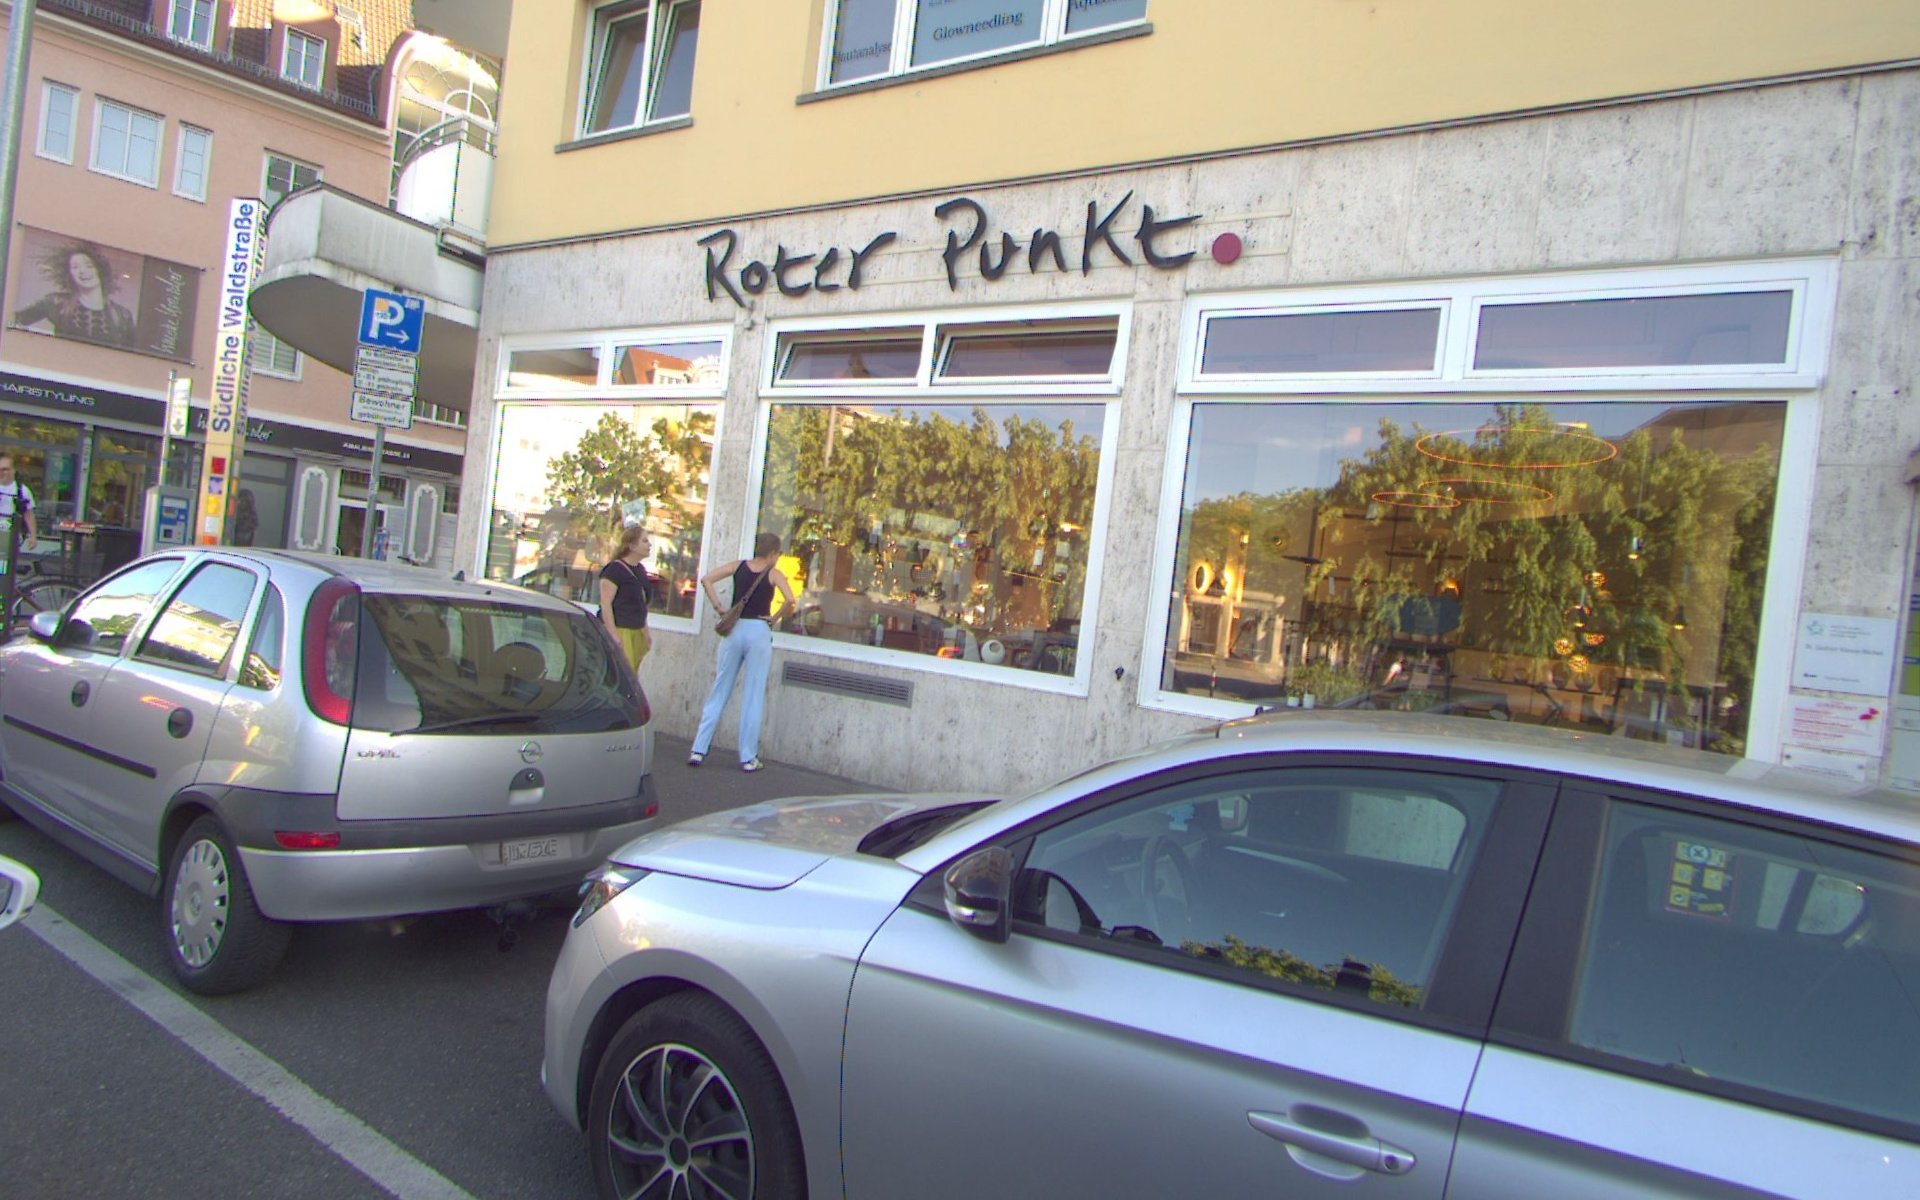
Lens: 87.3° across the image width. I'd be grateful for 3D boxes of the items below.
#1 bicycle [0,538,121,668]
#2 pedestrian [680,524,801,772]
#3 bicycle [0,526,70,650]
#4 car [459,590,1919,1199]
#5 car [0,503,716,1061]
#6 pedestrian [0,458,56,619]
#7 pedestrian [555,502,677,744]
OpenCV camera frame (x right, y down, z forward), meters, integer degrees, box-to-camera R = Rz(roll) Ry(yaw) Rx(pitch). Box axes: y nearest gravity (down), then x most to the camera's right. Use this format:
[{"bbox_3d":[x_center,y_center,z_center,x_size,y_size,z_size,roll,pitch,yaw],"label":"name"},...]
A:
[{"bbox_3d":[-8.112,0.001,8.208,0.348,1.051,1.871,6,1,38],"label":"bicycle"},{"bbox_3d":[-1.608,0.347,7.423,0.648,1.685,0.646,7,0,-11],"label":"pedestrian"},{"bbox_3d":[-9.109,-0.149,8.817,0.408,1.101,1.872,6,1,35],"label":"bicycle"},{"bbox_3d":[0.764,0.930,2.258,3.598,1.444,1.550,6,-1,30],"label":"car"},{"bbox_3d":[-2.929,0.487,4.429,3.419,1.407,1.548,8,0,33],"label":"car"},{"bbox_3d":[-11.263,-0.742,11.734,0.823,1.785,0.751,6,-1,36],"label":"pedestrian"},{"bbox_3d":[-2.754,0.189,8.119,0.558,1.805,0.743,7,0,-4],"label":"pedestrian"}]
